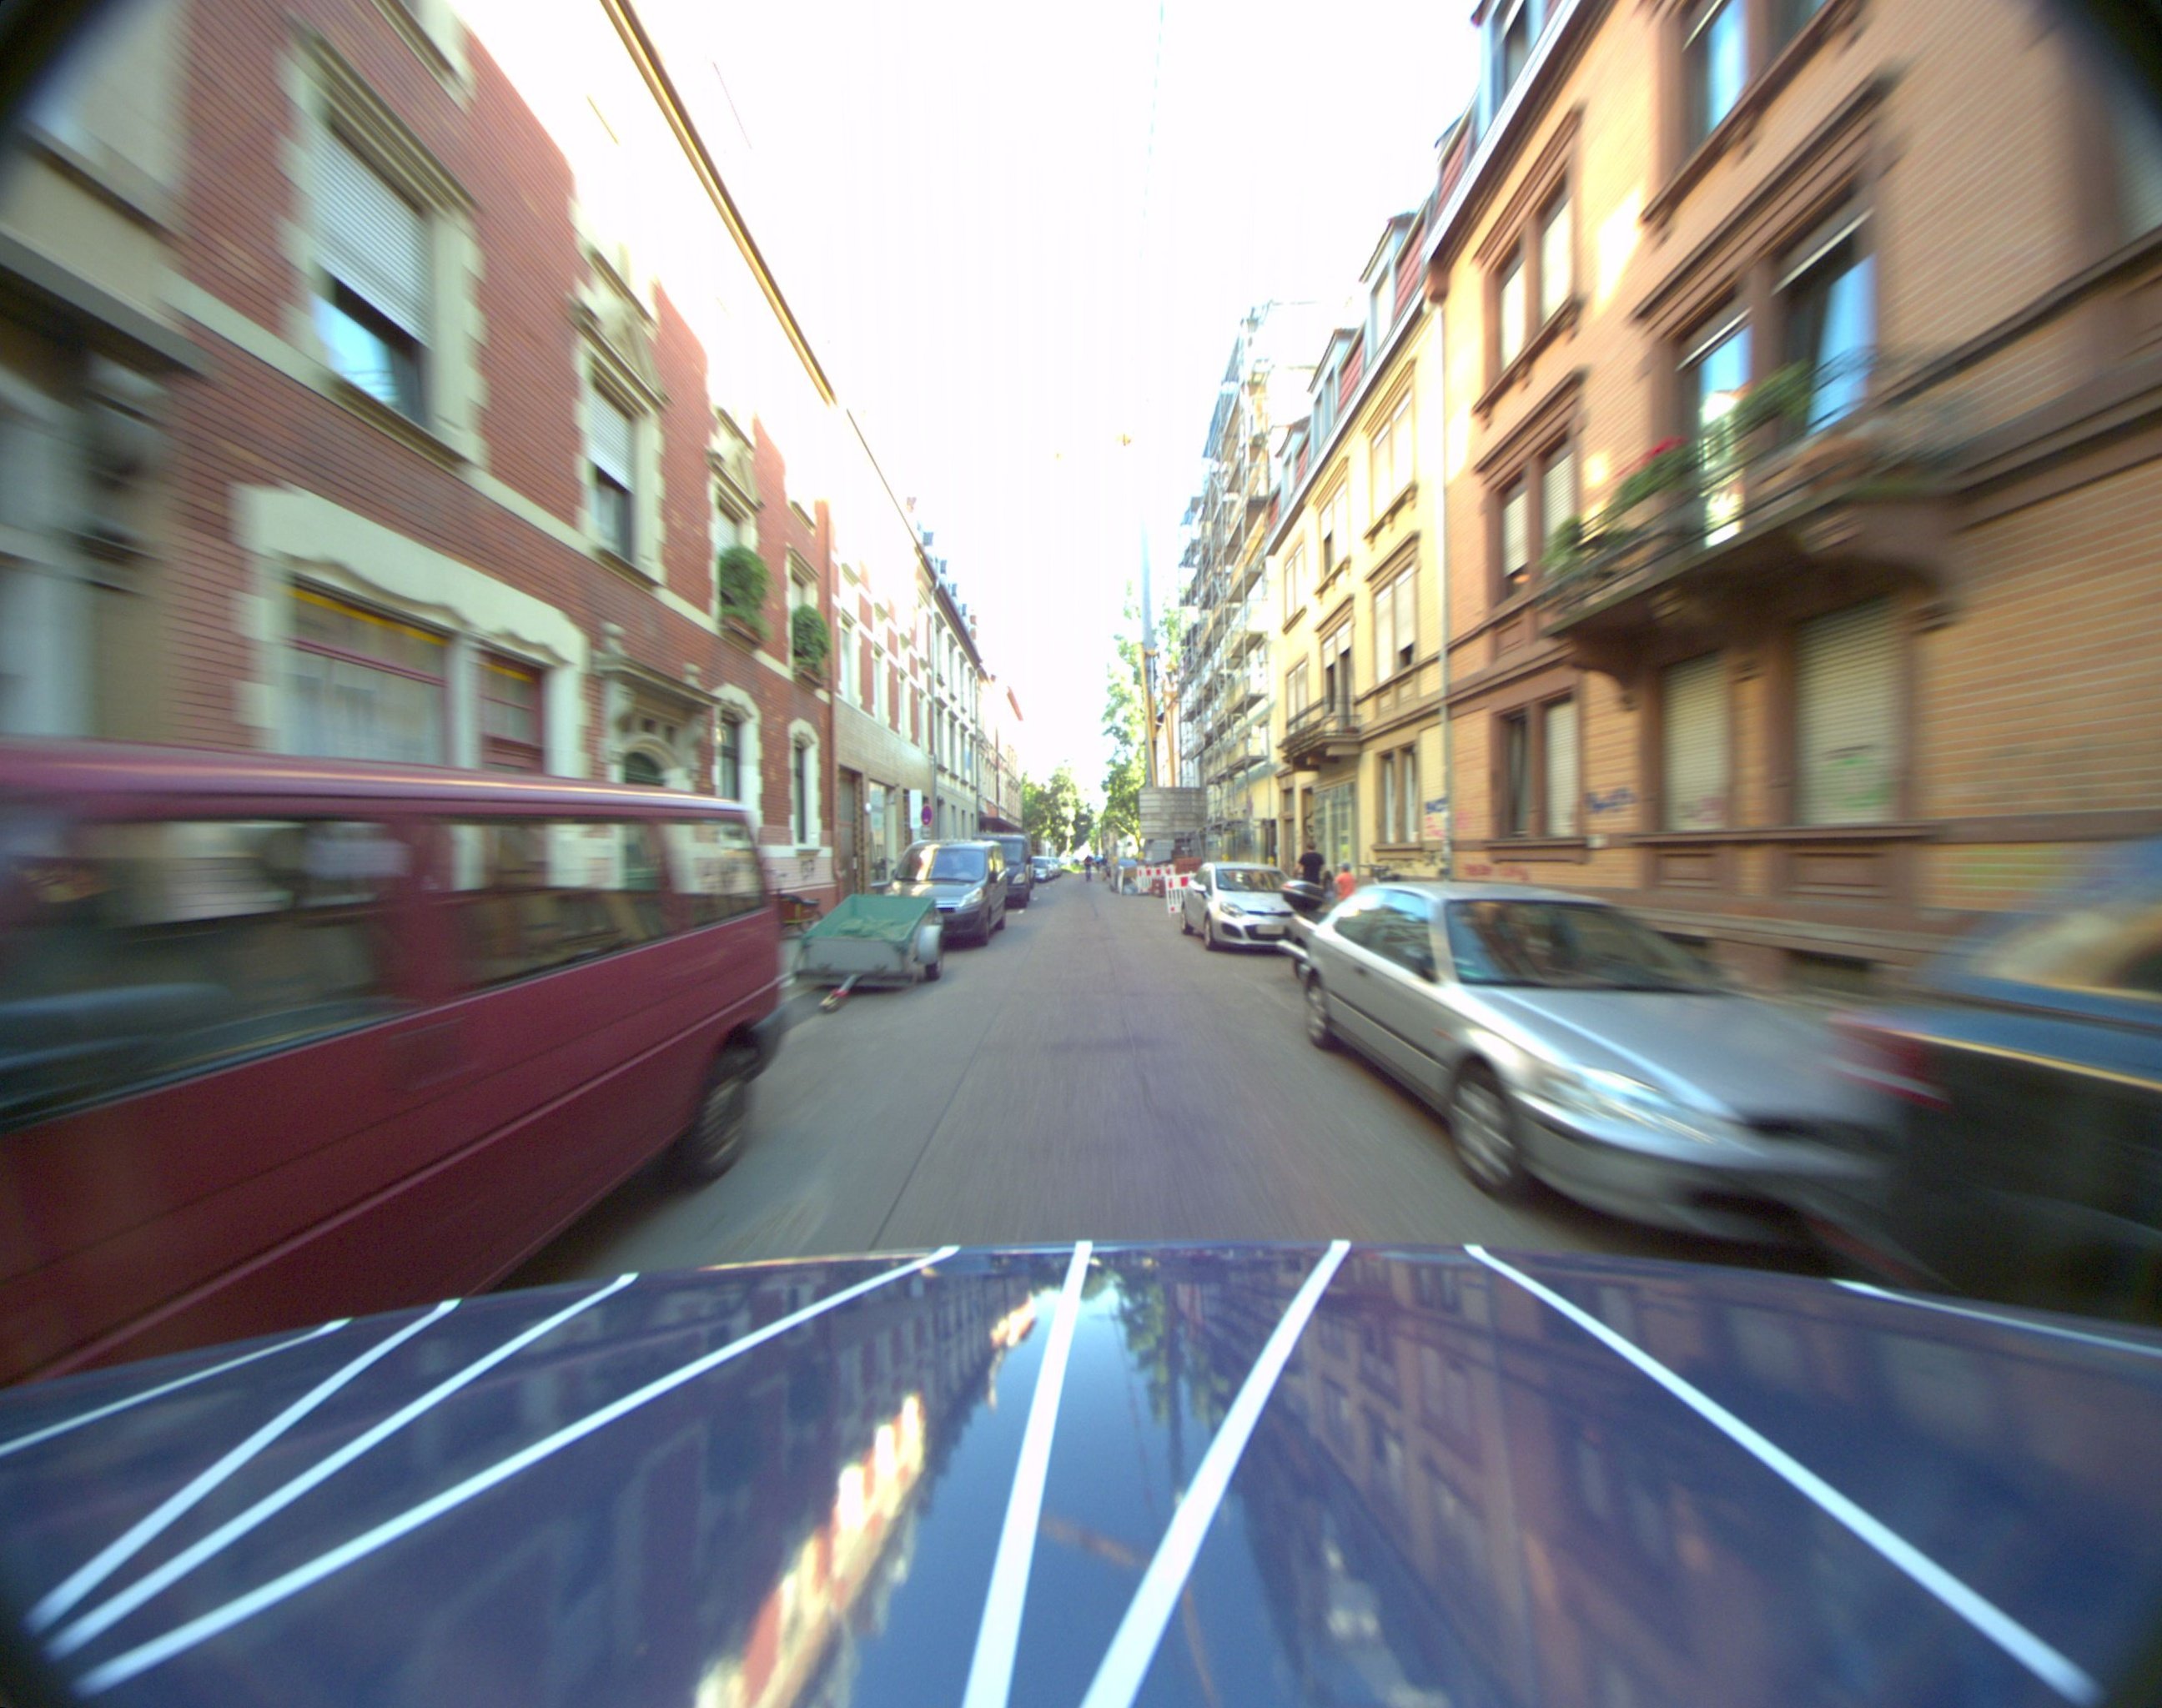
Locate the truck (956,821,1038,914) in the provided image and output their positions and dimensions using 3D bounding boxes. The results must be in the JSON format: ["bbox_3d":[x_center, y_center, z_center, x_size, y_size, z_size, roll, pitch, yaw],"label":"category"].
[{"bbox_3d":[-2.661,0.401,25.518,2.154,2.642,6.251,3,0,-2],"label":"truck"}]

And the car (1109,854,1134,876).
[{"bbox_3d":[2.916,0.789,55.844,1.646,1.483,4.000,-1,0,0],"label":"car"}]

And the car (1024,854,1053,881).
[{"bbox_3d":[-2.677,0.832,48.736,1.525,1.525,3.463,5,0,0],"label":"car"}]

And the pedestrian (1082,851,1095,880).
[{"bbox_3d":[0.438,0.676,45.469,0.740,1.743,0.997,-1,1,1],"label":"pedestrian"}]

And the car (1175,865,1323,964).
[{"bbox_3d":[2.767,0.938,13.406,1.678,1.410,3.999,1,0,-1],"label":"car"}]

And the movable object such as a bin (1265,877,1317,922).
[{"bbox_3d":[4.782,1.022,17.384,0.764,0.926,1.415,-1,0,-2],"label":"movable object such as a bin"}]

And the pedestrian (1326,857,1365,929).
[{"bbox_3d":[4.887,0.708,14.060,0.451,1.276,0.647,-2,1,1],"label":"pedestrian"}]

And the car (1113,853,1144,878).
[{"bbox_3d":[3.059,0.718,49.848,1.771,1.500,4.696,0,0,0],"label":"car"}]

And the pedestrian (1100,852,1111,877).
[{"bbox_3d":[1.571,0.668,48.789,0.594,1.634,0.813,1,1,0],"label":"pedestrian"}]

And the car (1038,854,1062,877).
[{"bbox_3d":[-2.382,0.854,58.829,1.603,1.626,3.774,-3,0,0],"label":"car"}]

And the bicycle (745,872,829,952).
[{"bbox_3d":[-5.172,0.979,13.510,0.670,1.215,1.991,2,1,1],"label":"bicycle"}]

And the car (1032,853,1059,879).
[{"bbox_3d":[-2.465,0.802,53.310,1.603,1.652,4.060,-3,0,0],"label":"car"}]

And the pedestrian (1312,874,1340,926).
[{"bbox_3d":[5.240,0.982,16.266,0.395,1.080,0.431,-2,1,-5],"label":"pedestrian"}]

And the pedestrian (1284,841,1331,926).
[{"bbox_3d":[4.826,0.613,16.224,0.687,1.755,0.887,-1,1,-3],"label":"pedestrian"}]

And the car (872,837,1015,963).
[{"bbox_3d":[-2.469,0.755,14.820,1.849,1.972,4.575,-3,0,0],"label":"car"}]

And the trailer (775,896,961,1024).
[{"bbox_3d":[-2.545,1.226,9.747,1.509,1.106,3.038,-4,0,-1],"label":"trailer"}]

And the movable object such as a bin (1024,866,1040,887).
[{"bbox_3d":[-2.460,1.121,38.259,0.742,1.051,0.687,0,0,0],"label":"movable object such as a bin"}]

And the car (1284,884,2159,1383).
[{"bbox_3d":[2.597,0.982,4.442,1.703,1.306,3.999,-4,1,0],"label":"car"}]

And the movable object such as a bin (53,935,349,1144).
[{"bbox_3d":[-5.205,1.068,4.556,0.898,1.055,0.722,2,0,-2],"label":"movable object such as a bin"}]

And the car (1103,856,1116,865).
[{"bbox_3d":[4.052,0.880,107.914,1.760,1.293,4.248,0,0,0],"label":"car"}]

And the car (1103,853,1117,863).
[{"bbox_3d":[4.716,0.620,122.875,2.168,1.508,5.376,0,0,1],"label":"car"}]

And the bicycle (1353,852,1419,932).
[{"bbox_3d":[5.890,0.702,14.760,0.525,1.417,1.712,-4,1,1],"label":"bicycle"}]

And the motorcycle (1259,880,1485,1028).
[{"bbox_3d":[3.194,1.017,8.561,0.846,1.352,2.190,1,1,-42],"label":"motorcycle"}]

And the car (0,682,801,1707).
[{"bbox_3d":[-2.658,0.749,2.186,1.836,2.002,4.741,-2,0,0],"label":"car"}]
